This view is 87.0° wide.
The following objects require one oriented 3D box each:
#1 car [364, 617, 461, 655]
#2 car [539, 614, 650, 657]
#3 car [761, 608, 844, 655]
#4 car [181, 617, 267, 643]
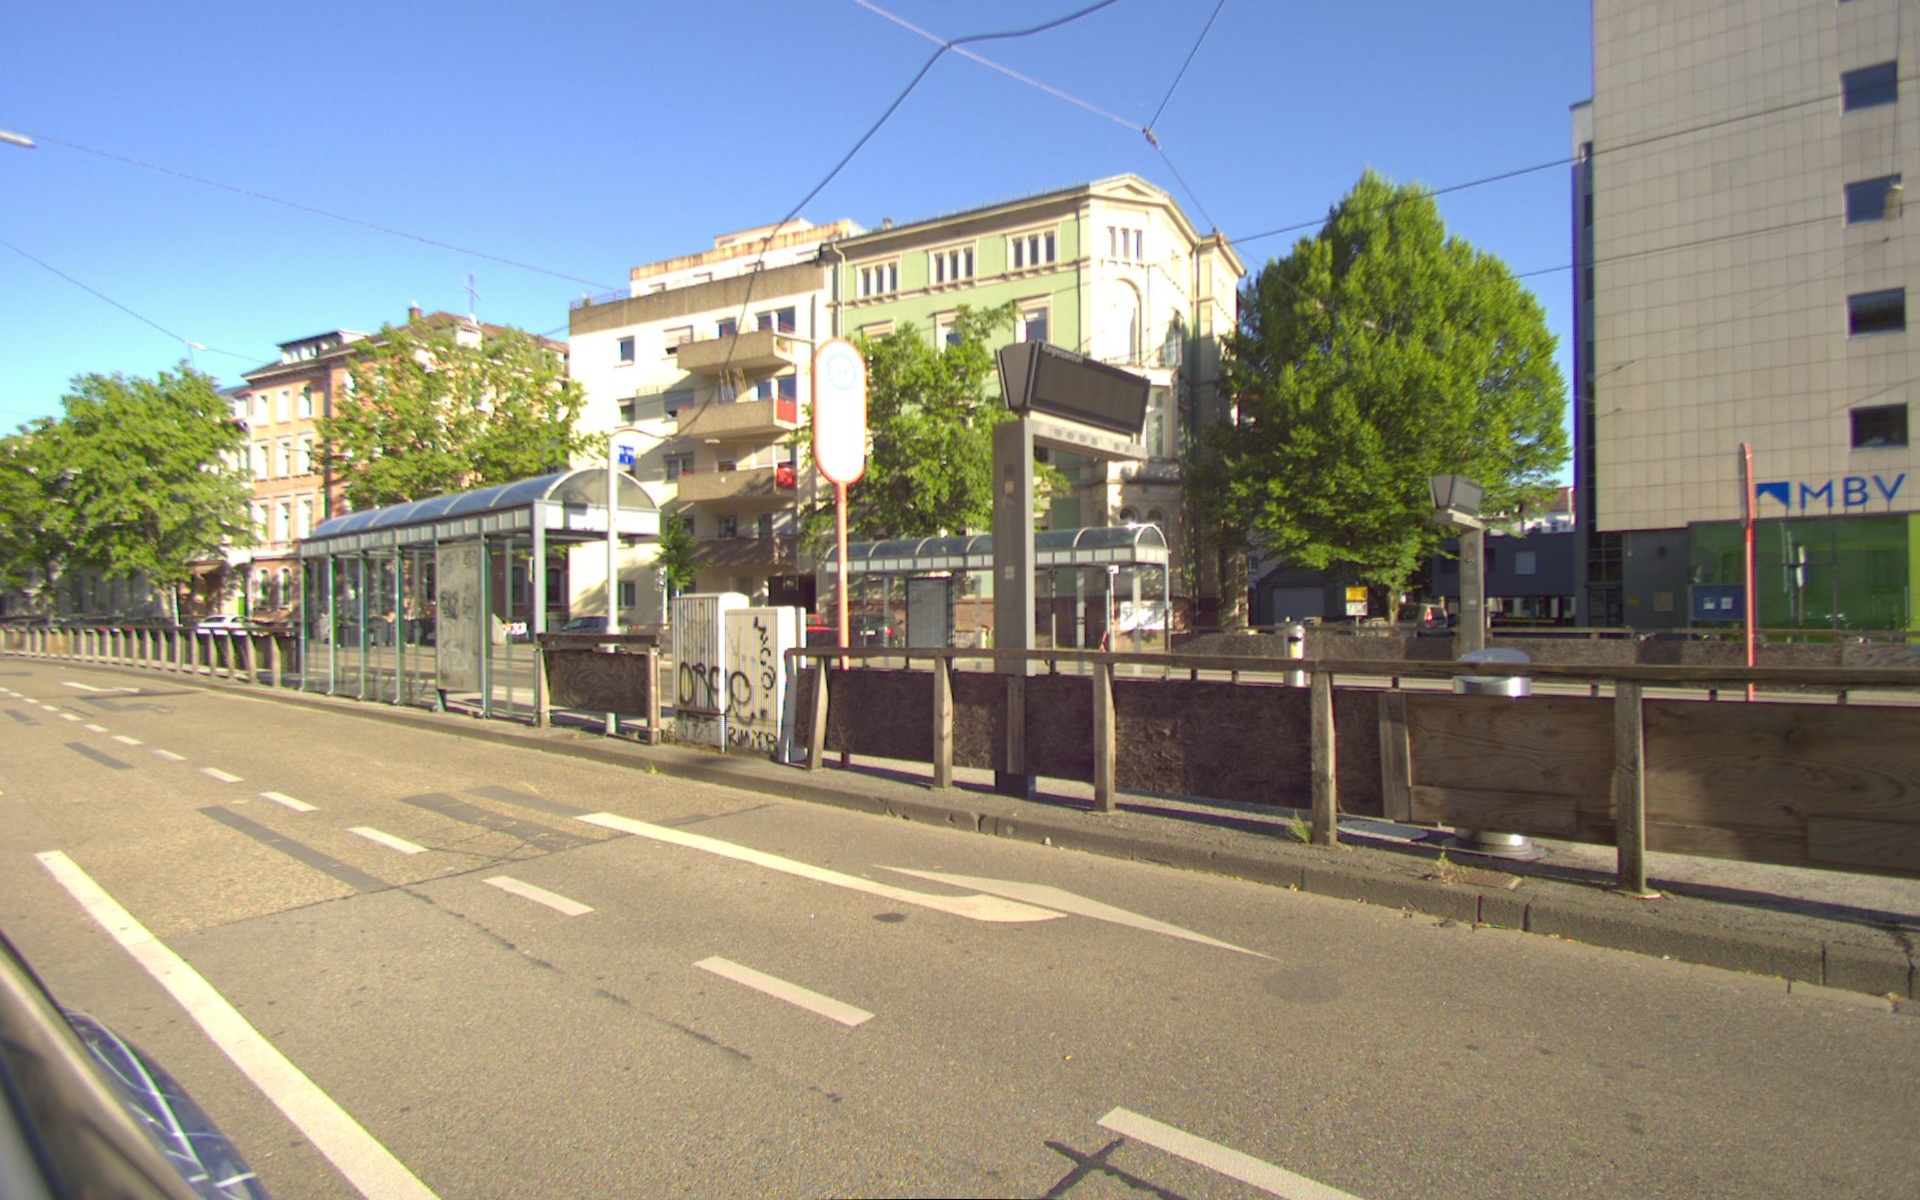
[{"bbox_3d":[-23.448,1.521,43.323,3.987,1.541,1.978,-1,-2,32],"label":"car"},{"bbox_3d":[-14.018,1.361,38.751,3.987,1.542,1.978,-1,-3,32],"label":"car"},{"bbox_3d":[-7.107,1.425,46.117,1.791,2.029,3.963,-1,-1,27],"label":"car"},{"bbox_3d":[-39.246,1.583,54.061,1.565,1.360,3.631,0,-1,11],"label":"car"}]
